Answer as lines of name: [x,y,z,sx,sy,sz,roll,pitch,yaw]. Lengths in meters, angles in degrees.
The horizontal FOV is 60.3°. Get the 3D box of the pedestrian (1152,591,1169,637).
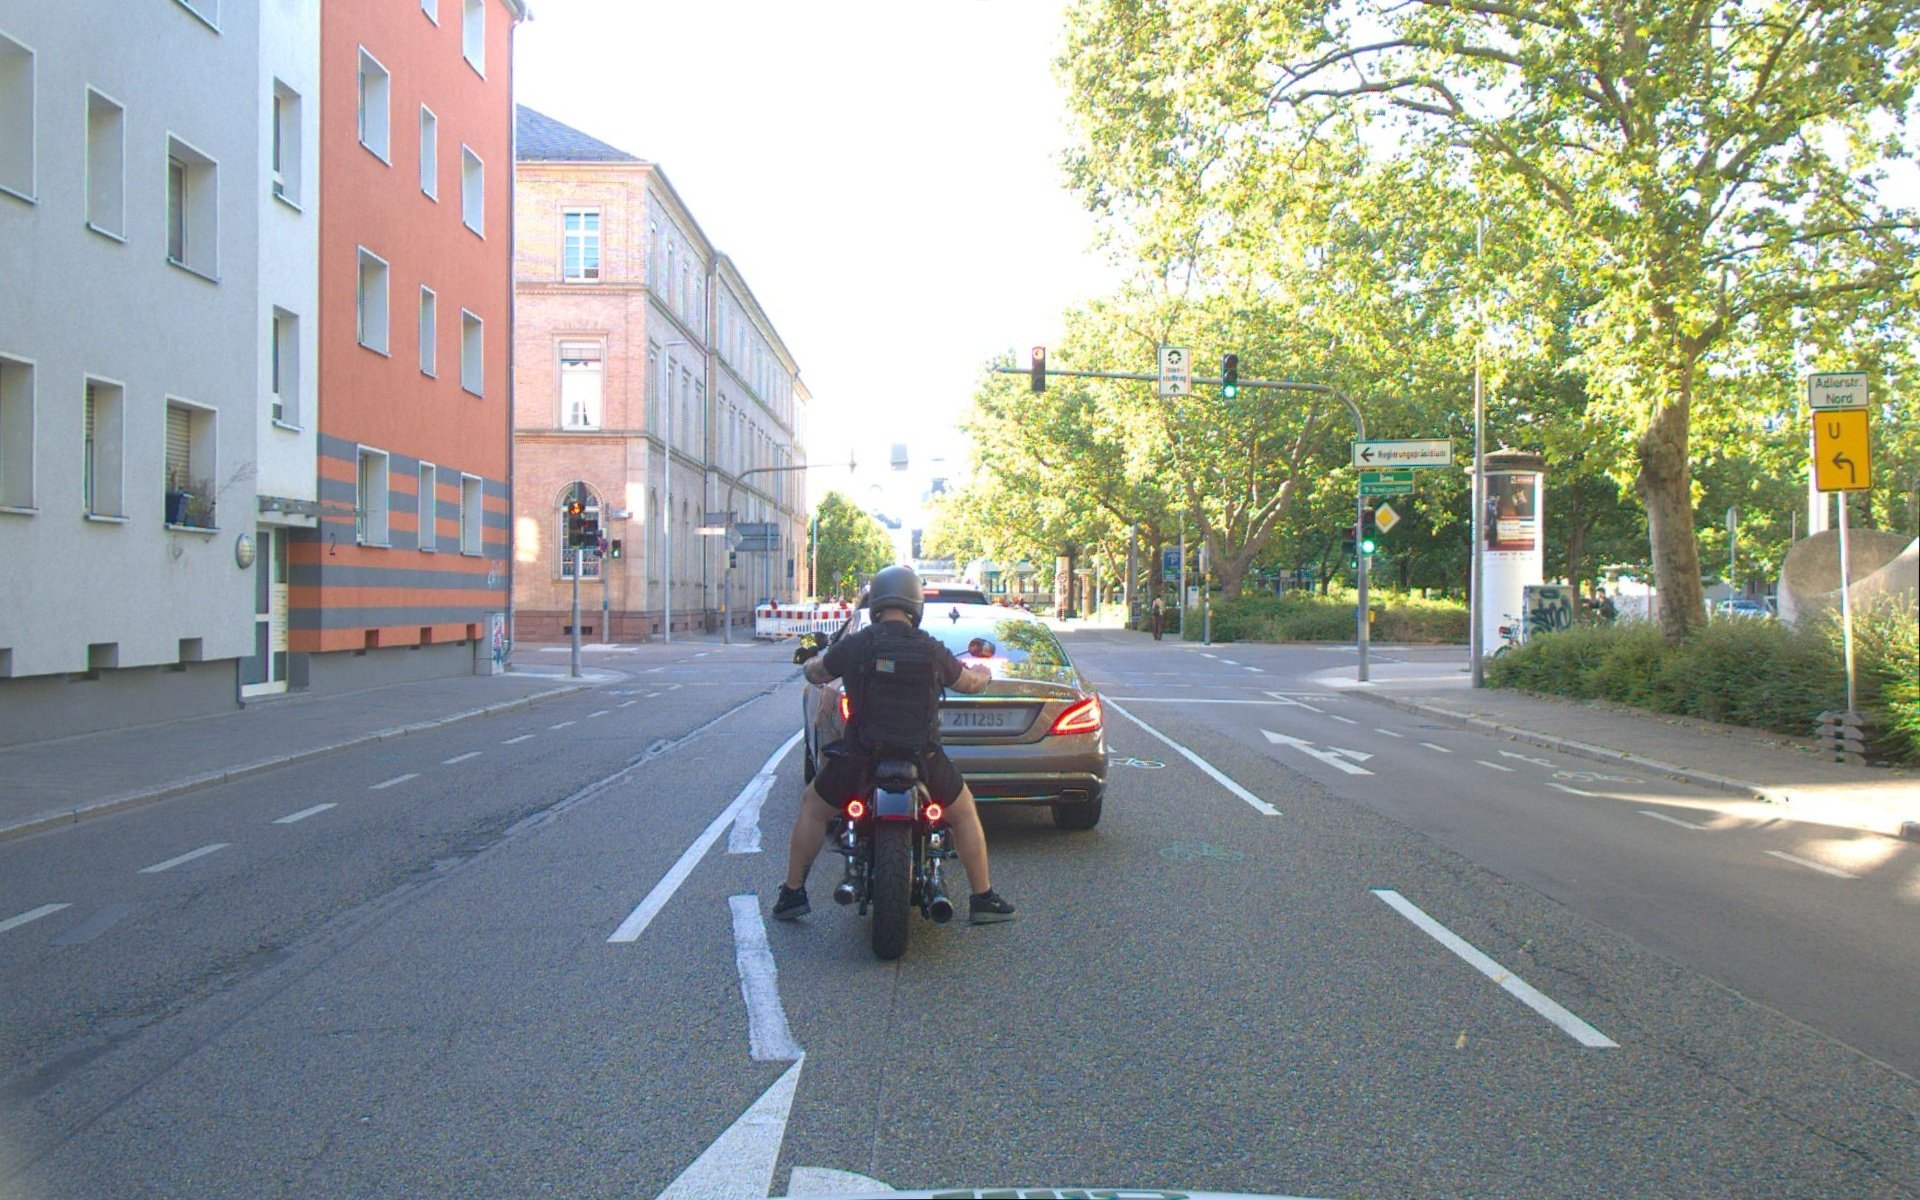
pedestrian: [7.353,0.507,60.672,0.548,1.707,0.564,0,0,-1]

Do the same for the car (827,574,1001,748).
car: [-0.503,0.582,17.653,1.647,1.653,3.839,0,0,-2]

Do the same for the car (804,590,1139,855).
car: [-0.124,0.691,11.641,1.787,1.502,4.346,0,0,-7]

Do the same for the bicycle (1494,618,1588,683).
bicycle: [9.694,0.835,27.607,1.387,1.055,0.538,0,0,-5]

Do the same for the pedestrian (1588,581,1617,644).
pedestrian: [18.809,0.364,48.443,0.607,1.815,0.630,0,0,1]

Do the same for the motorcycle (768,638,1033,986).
motorcycle: [-0.241,0.825,7.523,0.987,1.225,2.664,0,0,-1]

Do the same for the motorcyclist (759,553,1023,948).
motorcyclist: [-0.296,0.623,7.477,1.090,1.641,1.202,0,0,-1]

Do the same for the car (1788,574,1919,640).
car: [25.759,0.190,46.567,3.912,1.815,2.001,0,0,4]
